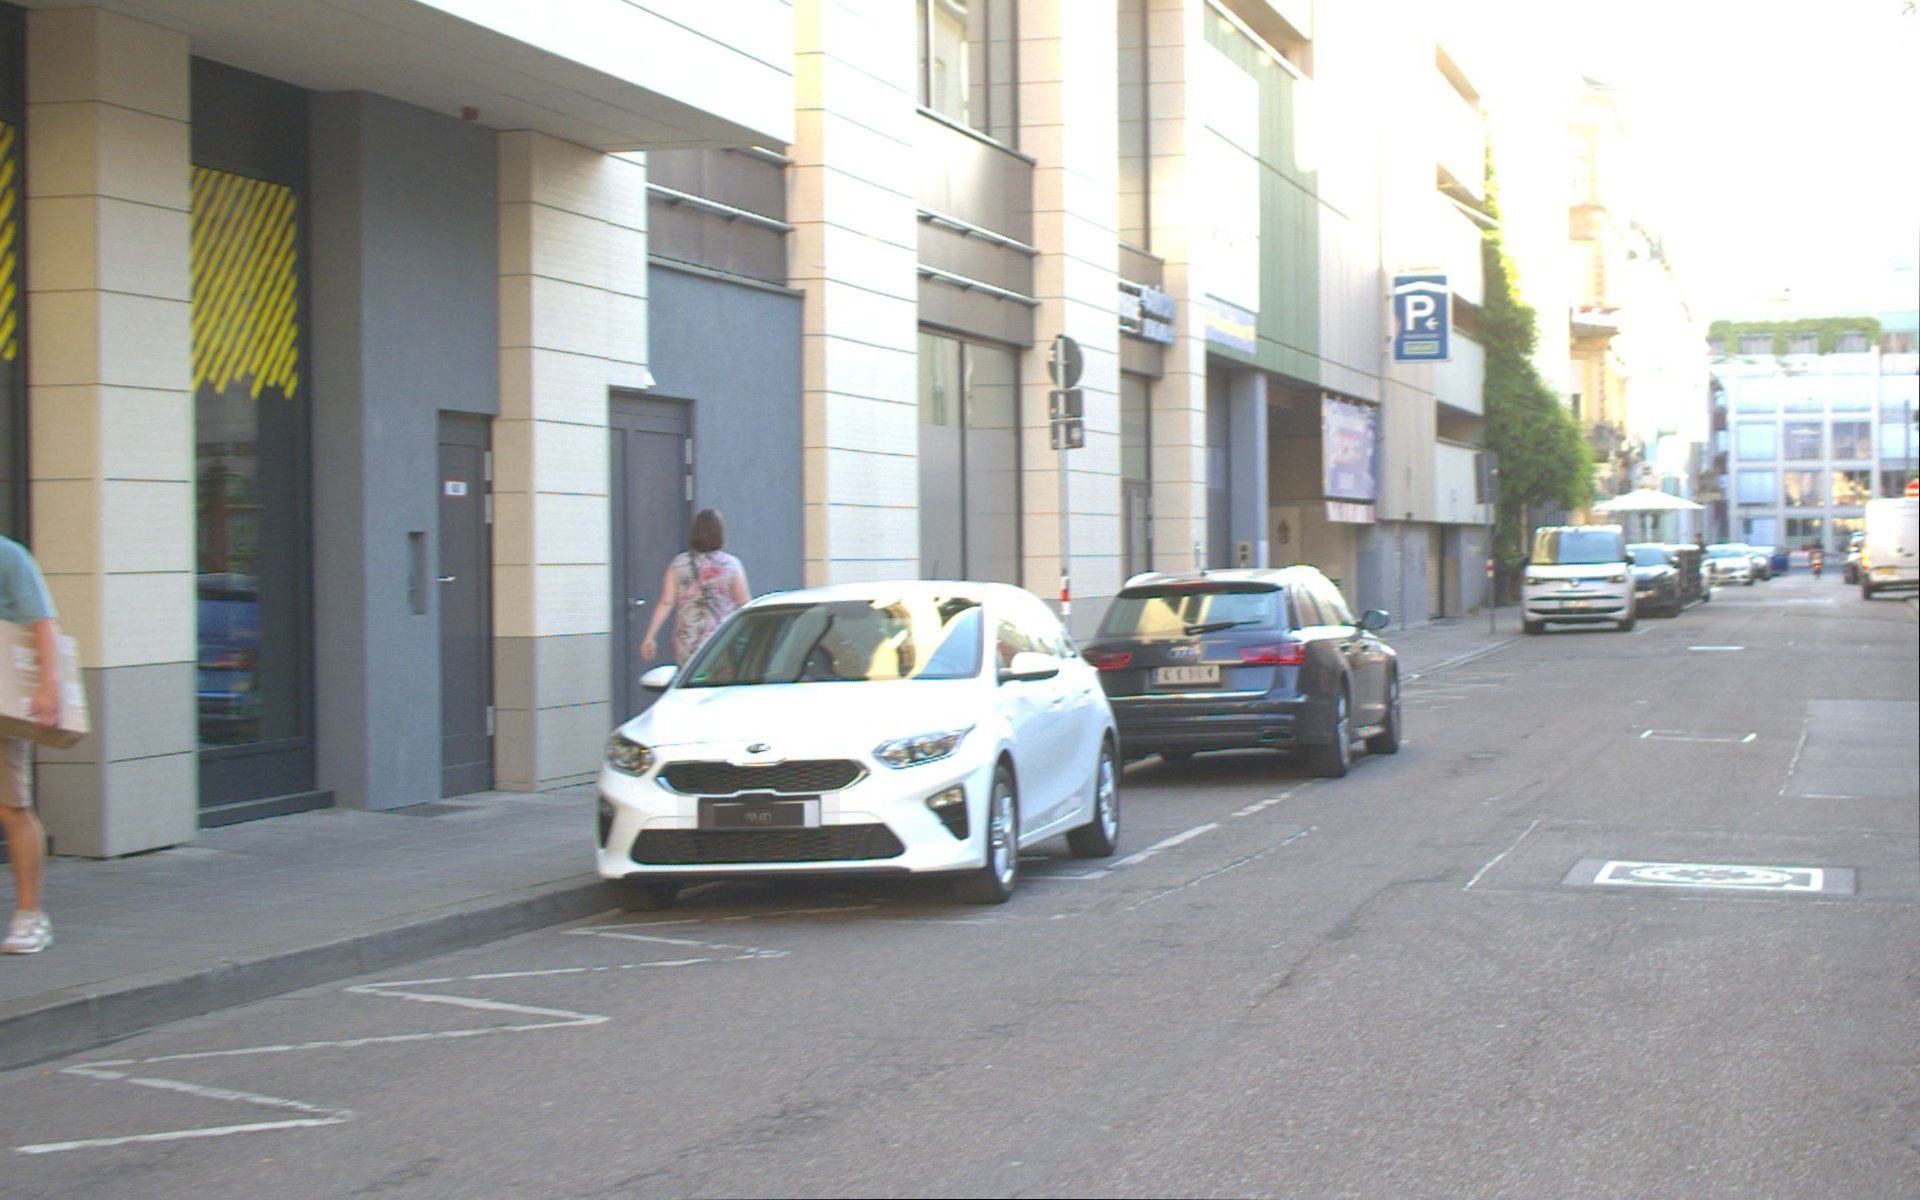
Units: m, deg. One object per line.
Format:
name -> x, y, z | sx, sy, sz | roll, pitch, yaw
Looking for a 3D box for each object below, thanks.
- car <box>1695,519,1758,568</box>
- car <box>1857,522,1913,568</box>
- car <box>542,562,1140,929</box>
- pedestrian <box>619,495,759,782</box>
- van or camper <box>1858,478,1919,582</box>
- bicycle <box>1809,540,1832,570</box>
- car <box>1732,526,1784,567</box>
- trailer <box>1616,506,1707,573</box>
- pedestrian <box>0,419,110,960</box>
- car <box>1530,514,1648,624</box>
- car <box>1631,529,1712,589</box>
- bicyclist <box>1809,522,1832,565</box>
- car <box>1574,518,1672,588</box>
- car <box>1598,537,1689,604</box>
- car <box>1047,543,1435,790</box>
car -> 26.664, -1.957, 119.581 | 1.995, 1.678, 3.997 | 0, 1, 15
car -> 34.477, -2.054, 128.184 | 1.995, 1.678, 3.997 | 0, 1, 15
car -> -0.400, 0.574, 16.252 | 1.778, 1.448, 4.228 | 0, 1, 13
pedestrian -> -1.664, 0.227, 21.185 | 0.672, 1.738, 0.647 | 0, 1, 15
van or camper -> 25.504, -1.892, 92.817 | 2.259, 2.598, 5.108 | -5, -1, 15
bicycle -> 37.351, -1.943, 149.210 | 0.976, 1.276, 2.752 | 0, 1, 15
car -> 32.910, -2.185, 141.720 | 1.995, 1.678, 3.997 | 0, 1, 15
trailer -> 16.735, -1.414, 81.881 | 1.995, 1.552, 3.998 | 0, 1, 13
pedestrian -> -3.436, 0.298, 12.006 | 0.672, 1.830, 0.647 | 0, 1, 12
car -> 11.378, -0.585, 62.020 | 1.884, 1.905, 4.745 | 0, 1, 13
car -> 17.887, -1.036, 86.359 | 1.884, 1.448, 3.998 | 0, 1, 13
bicyclist -> 37.300, -2.438, 149.020 | 0.991, 1.862, 0.708 | 0, 0, 15
car -> 14.124, -1.016, 73.094 | 1.884, 1.448, 3.998 | 0, 1, 13
car -> 15.476, -0.692, 77.719 | 1.884, 1.448, 3.998 | 0, 1, 13
car -> 2.161, 0.403, 25.046 | 1.885, 1.592, 4.686 | 0, 1, 17
